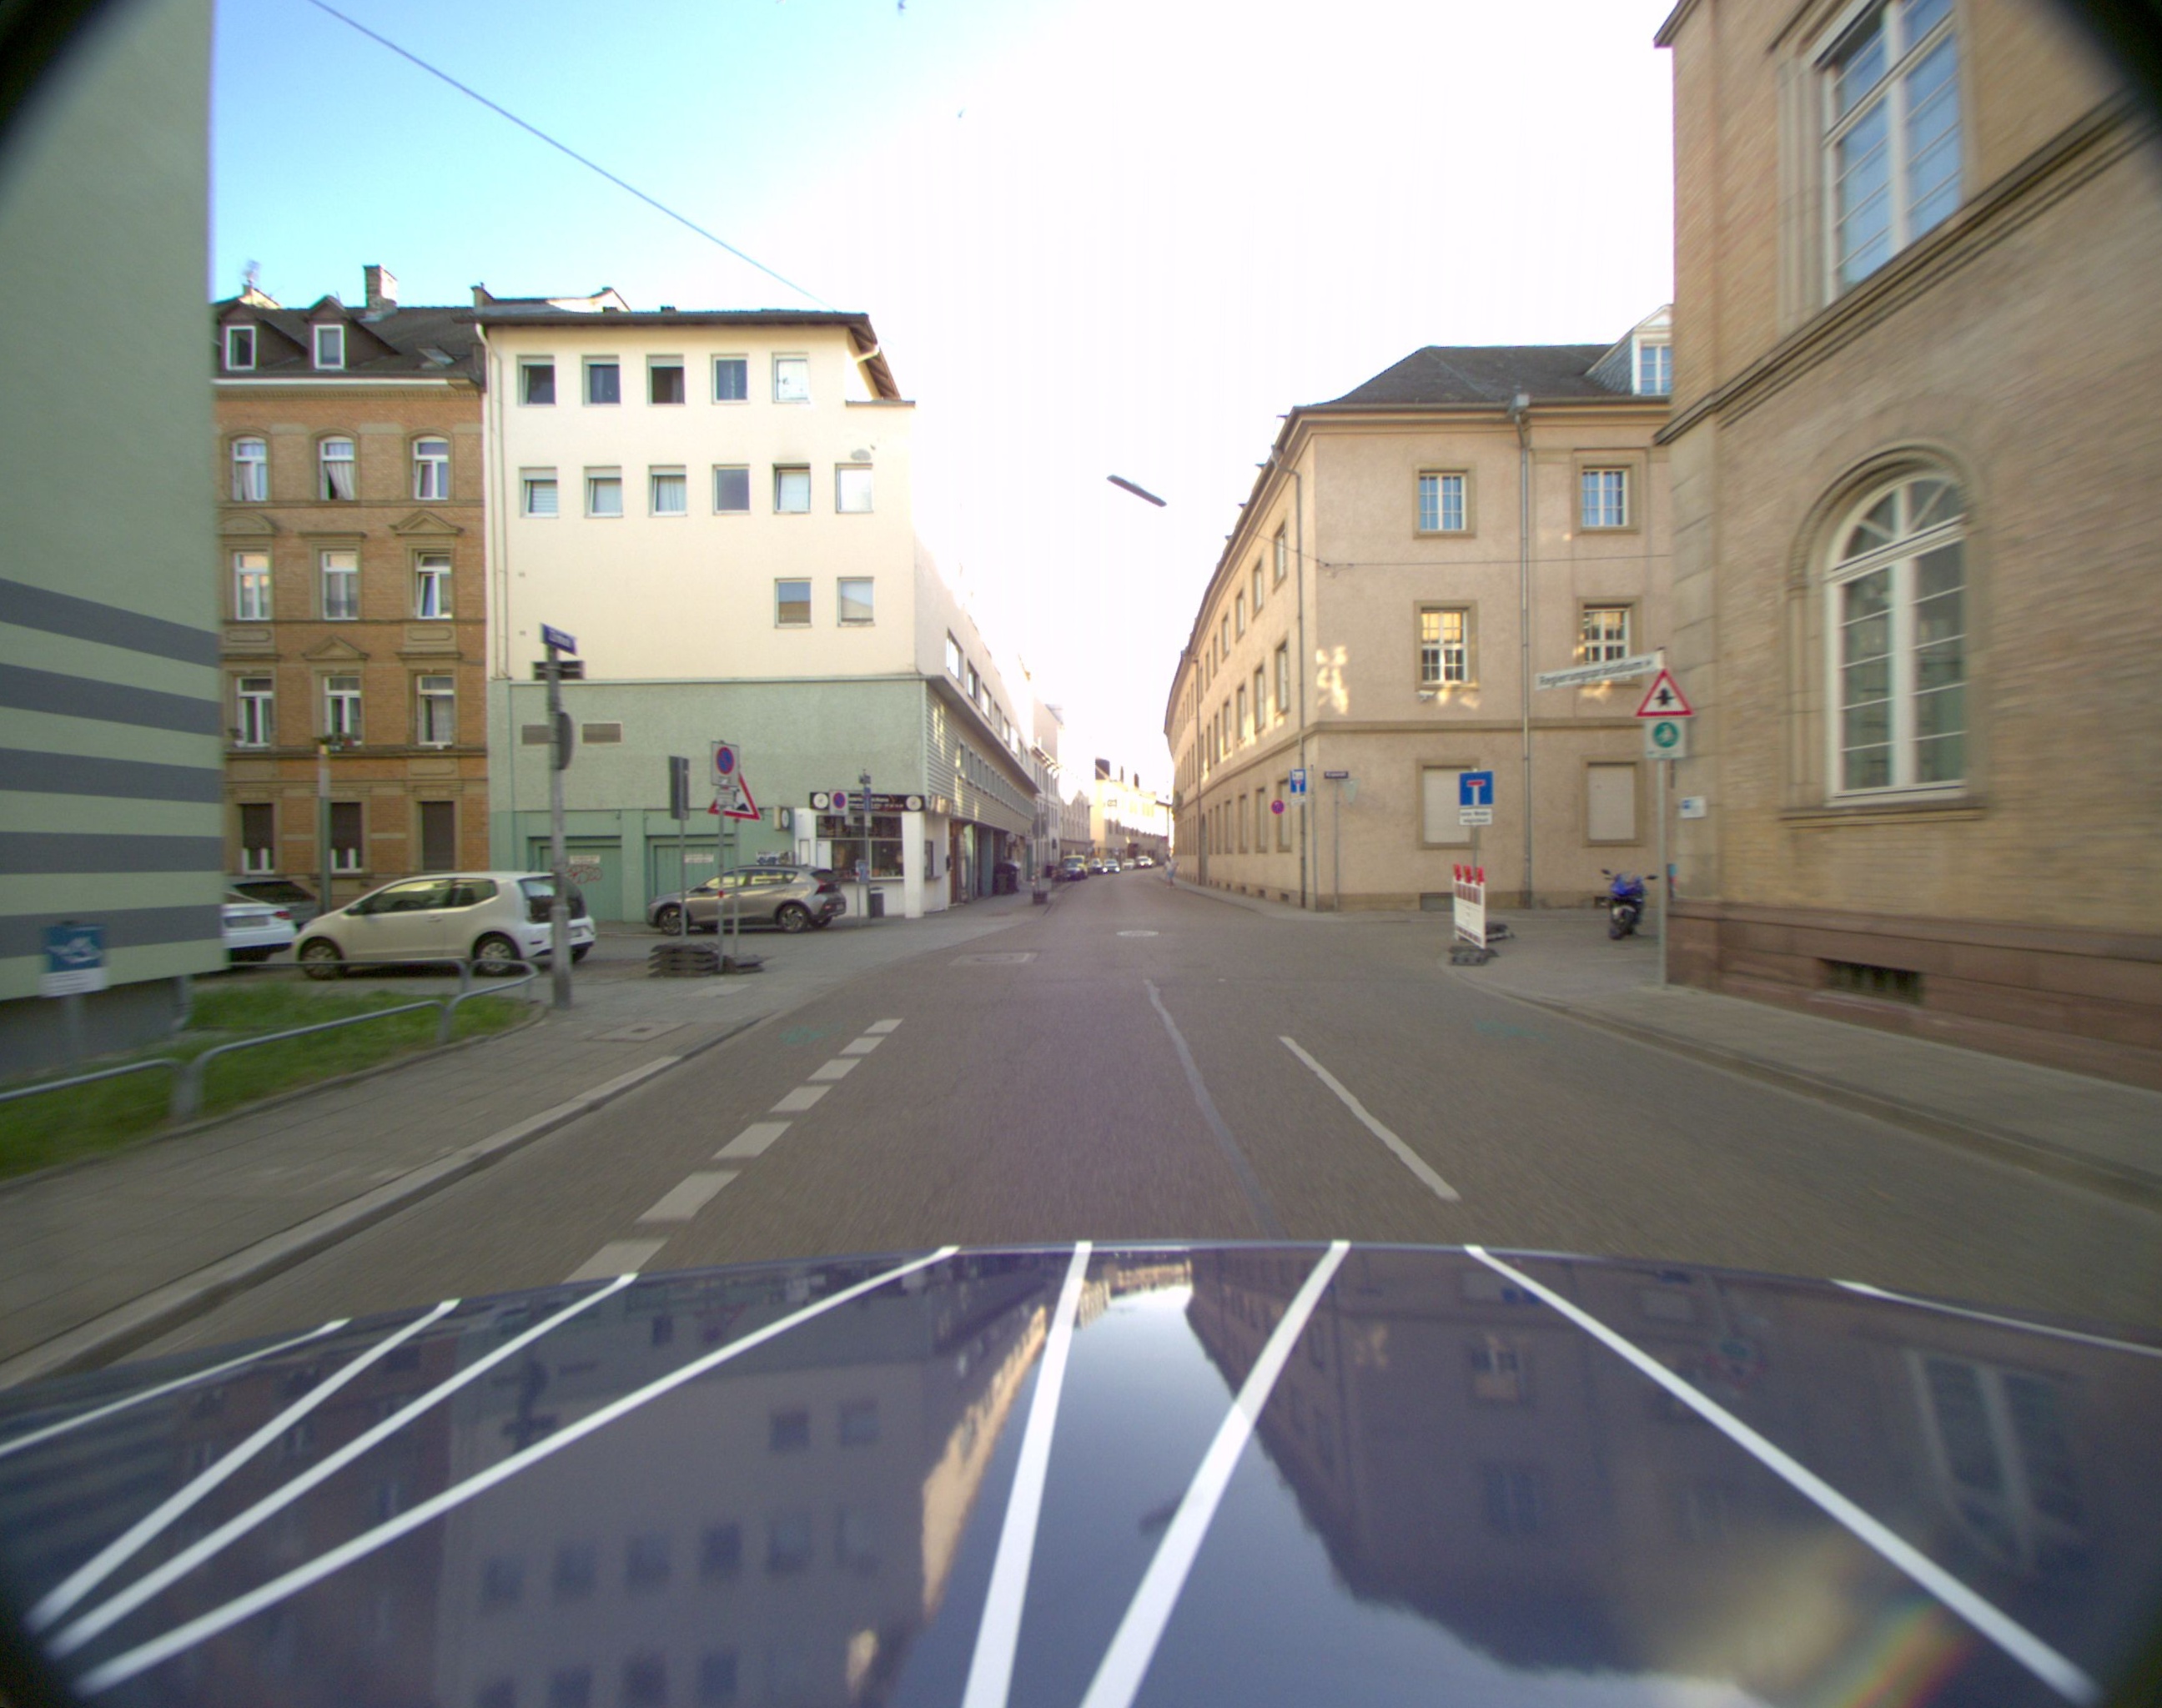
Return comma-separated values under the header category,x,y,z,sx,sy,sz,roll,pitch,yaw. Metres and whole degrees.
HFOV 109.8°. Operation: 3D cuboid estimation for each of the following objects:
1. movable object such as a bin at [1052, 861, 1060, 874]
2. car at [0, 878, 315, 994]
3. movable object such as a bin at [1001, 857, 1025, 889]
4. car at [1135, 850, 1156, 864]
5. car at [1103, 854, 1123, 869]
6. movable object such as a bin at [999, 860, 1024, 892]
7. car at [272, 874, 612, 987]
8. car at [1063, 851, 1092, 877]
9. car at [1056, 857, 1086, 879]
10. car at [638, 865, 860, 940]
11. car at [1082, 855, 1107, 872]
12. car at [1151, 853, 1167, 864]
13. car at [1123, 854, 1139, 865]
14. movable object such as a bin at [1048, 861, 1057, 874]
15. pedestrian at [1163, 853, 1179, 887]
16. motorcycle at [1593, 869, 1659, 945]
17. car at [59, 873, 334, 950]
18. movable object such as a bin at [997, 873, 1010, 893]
category,x,y,z,sx,sy,sz,roll,pitch,yaw
movable object such as a bin,-2.096,1.114,63.326,0.628,1.045,0.708,4,1,0
car,-14.244,1.150,11.160,4.220,1.473,1.709,-1,1,1
movable object such as a bin,-3.281,0.898,37.001,0.983,1.472,1.551,0,3,2
car,9.577,0.447,112.177,1.945,1.850,5.201,-5,-1,17
car,3.554,0.825,83.795,1.828,1.550,3.989,-2,0,8
movable object such as a bin,-3.218,1.009,35.365,0.983,1.377,1.320,0,3,2
car,-9.218,1.063,11.185,3.554,1.473,1.709,0,1,1
car,-0.253,0.755,60.391,1.887,1.871,4.847,-2,0,4
car,-0.697,1.001,54.975,1.888,1.480,4.369,-2,0,2
car,-7.286,1.034,16.990,4.089,1.473,1.865,-1,1,0
car,1.360,0.913,76.351,1.828,1.645,4.496,-2,0,9
car,13.226,0.762,128.982,1.774,1.574,3.861,-5,-1,18
car,7.126,0.794,107.546,1.734,1.539,4.003,-2,0,11
movable object such as a bin,-2.325,1.100,62.543,0.607,1.045,0.708,4,1,3
pedestrian,4.614,0.815,38.891,0.694,1.660,0.875,-3,1,4
motorcycle,9.370,0.870,13.026,0.586,1.166,2.288,-5,-3,42
car,-19.323,1.233,16.712,4.178,1.474,1.674,-1,2,3
movable object such as a bin,-3.512,1.308,34.428,0.558,0.894,0.523,0,3,2
